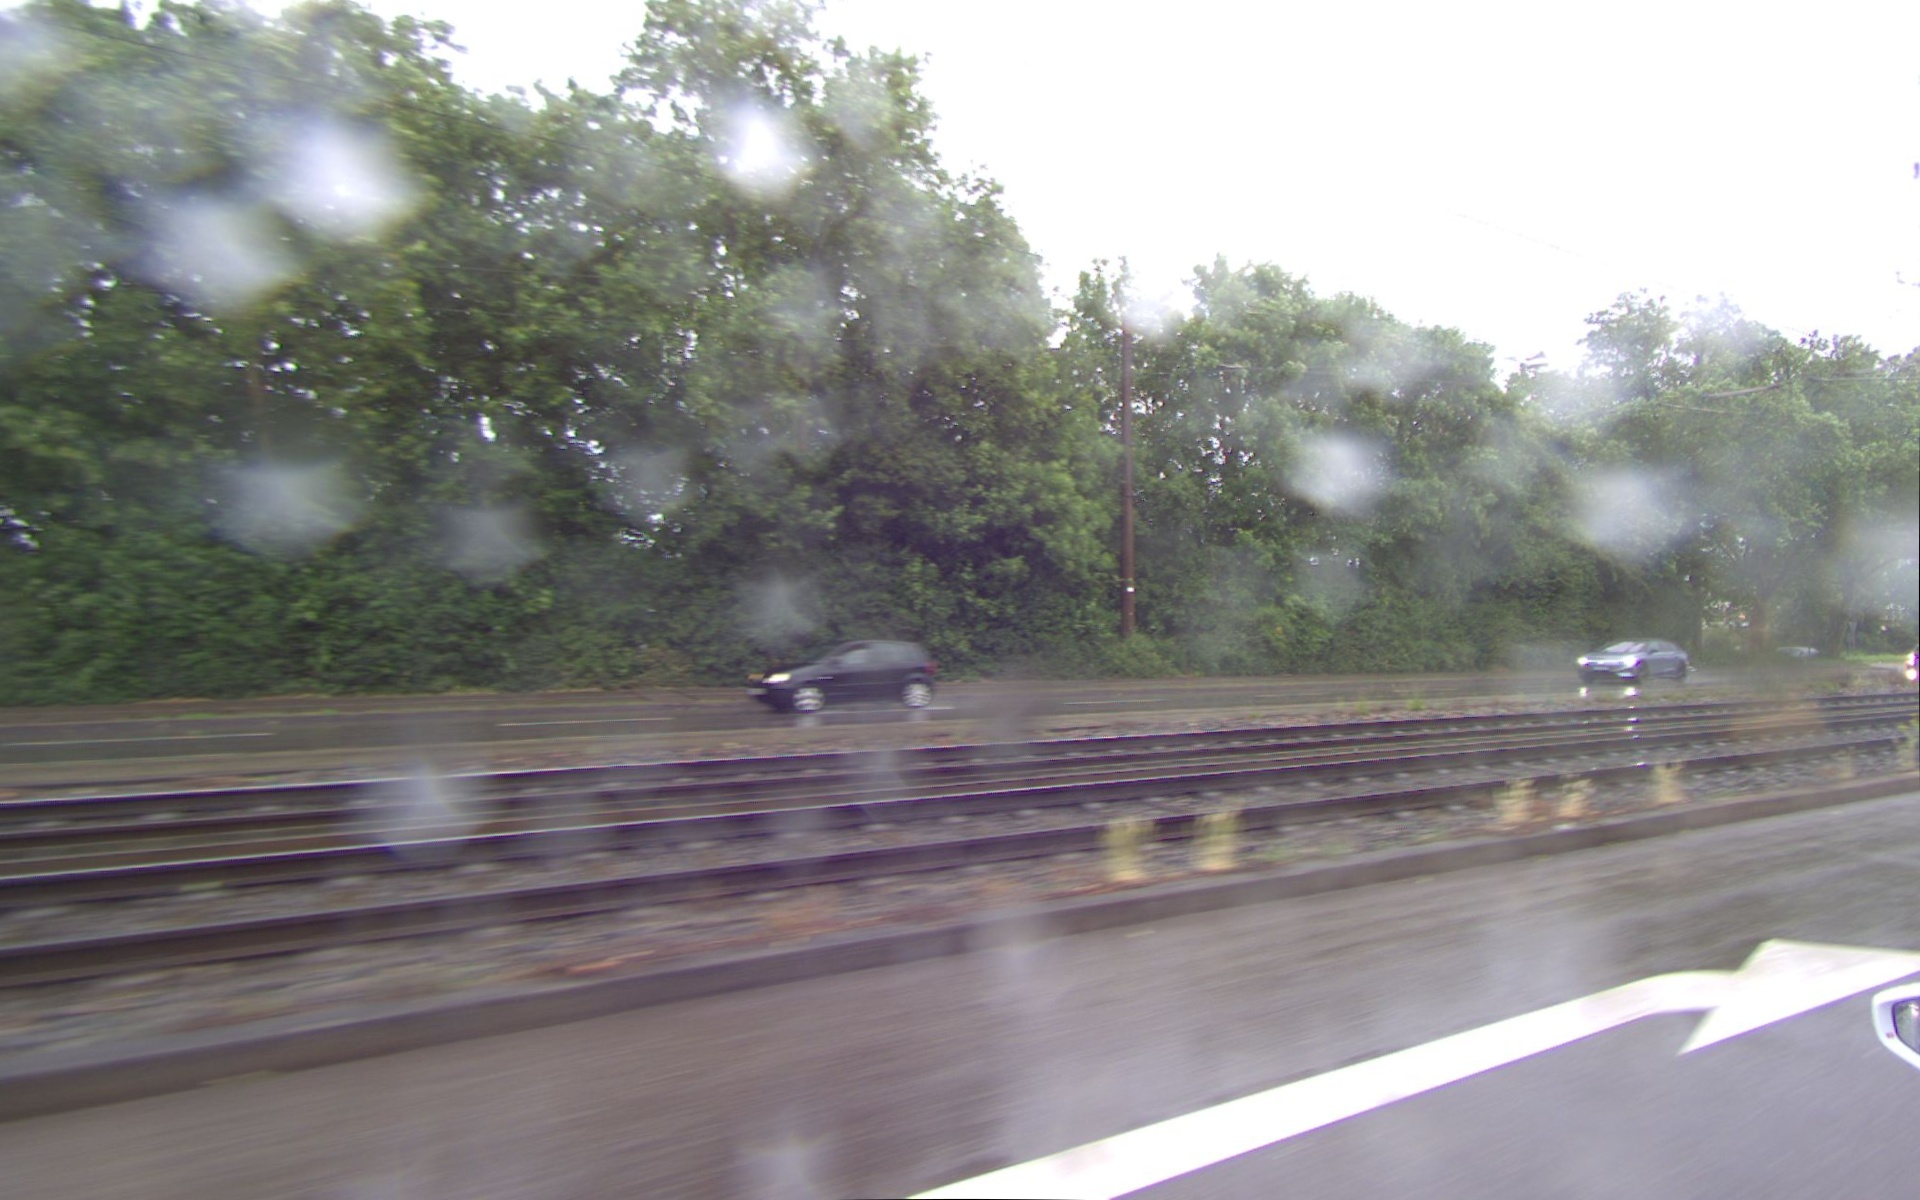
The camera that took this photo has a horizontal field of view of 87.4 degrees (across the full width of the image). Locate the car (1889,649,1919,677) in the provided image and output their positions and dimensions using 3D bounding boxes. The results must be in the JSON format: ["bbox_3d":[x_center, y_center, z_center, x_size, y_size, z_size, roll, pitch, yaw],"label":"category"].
[{"bbox_3d":[52.518,3.438,54.786,3.894,1.424,1.674,2,-1,-30],"label":"car"}]

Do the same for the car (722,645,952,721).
[{"bbox_3d":[-2.469,1.632,20.514,4.329,1.348,1.763,1,-1,-31],"label":"car"}]

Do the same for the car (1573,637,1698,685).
[{"bbox_3d":[23.411,2.053,34.765,4.898,1.543,1.682,1,-1,-31],"label":"car"}]
